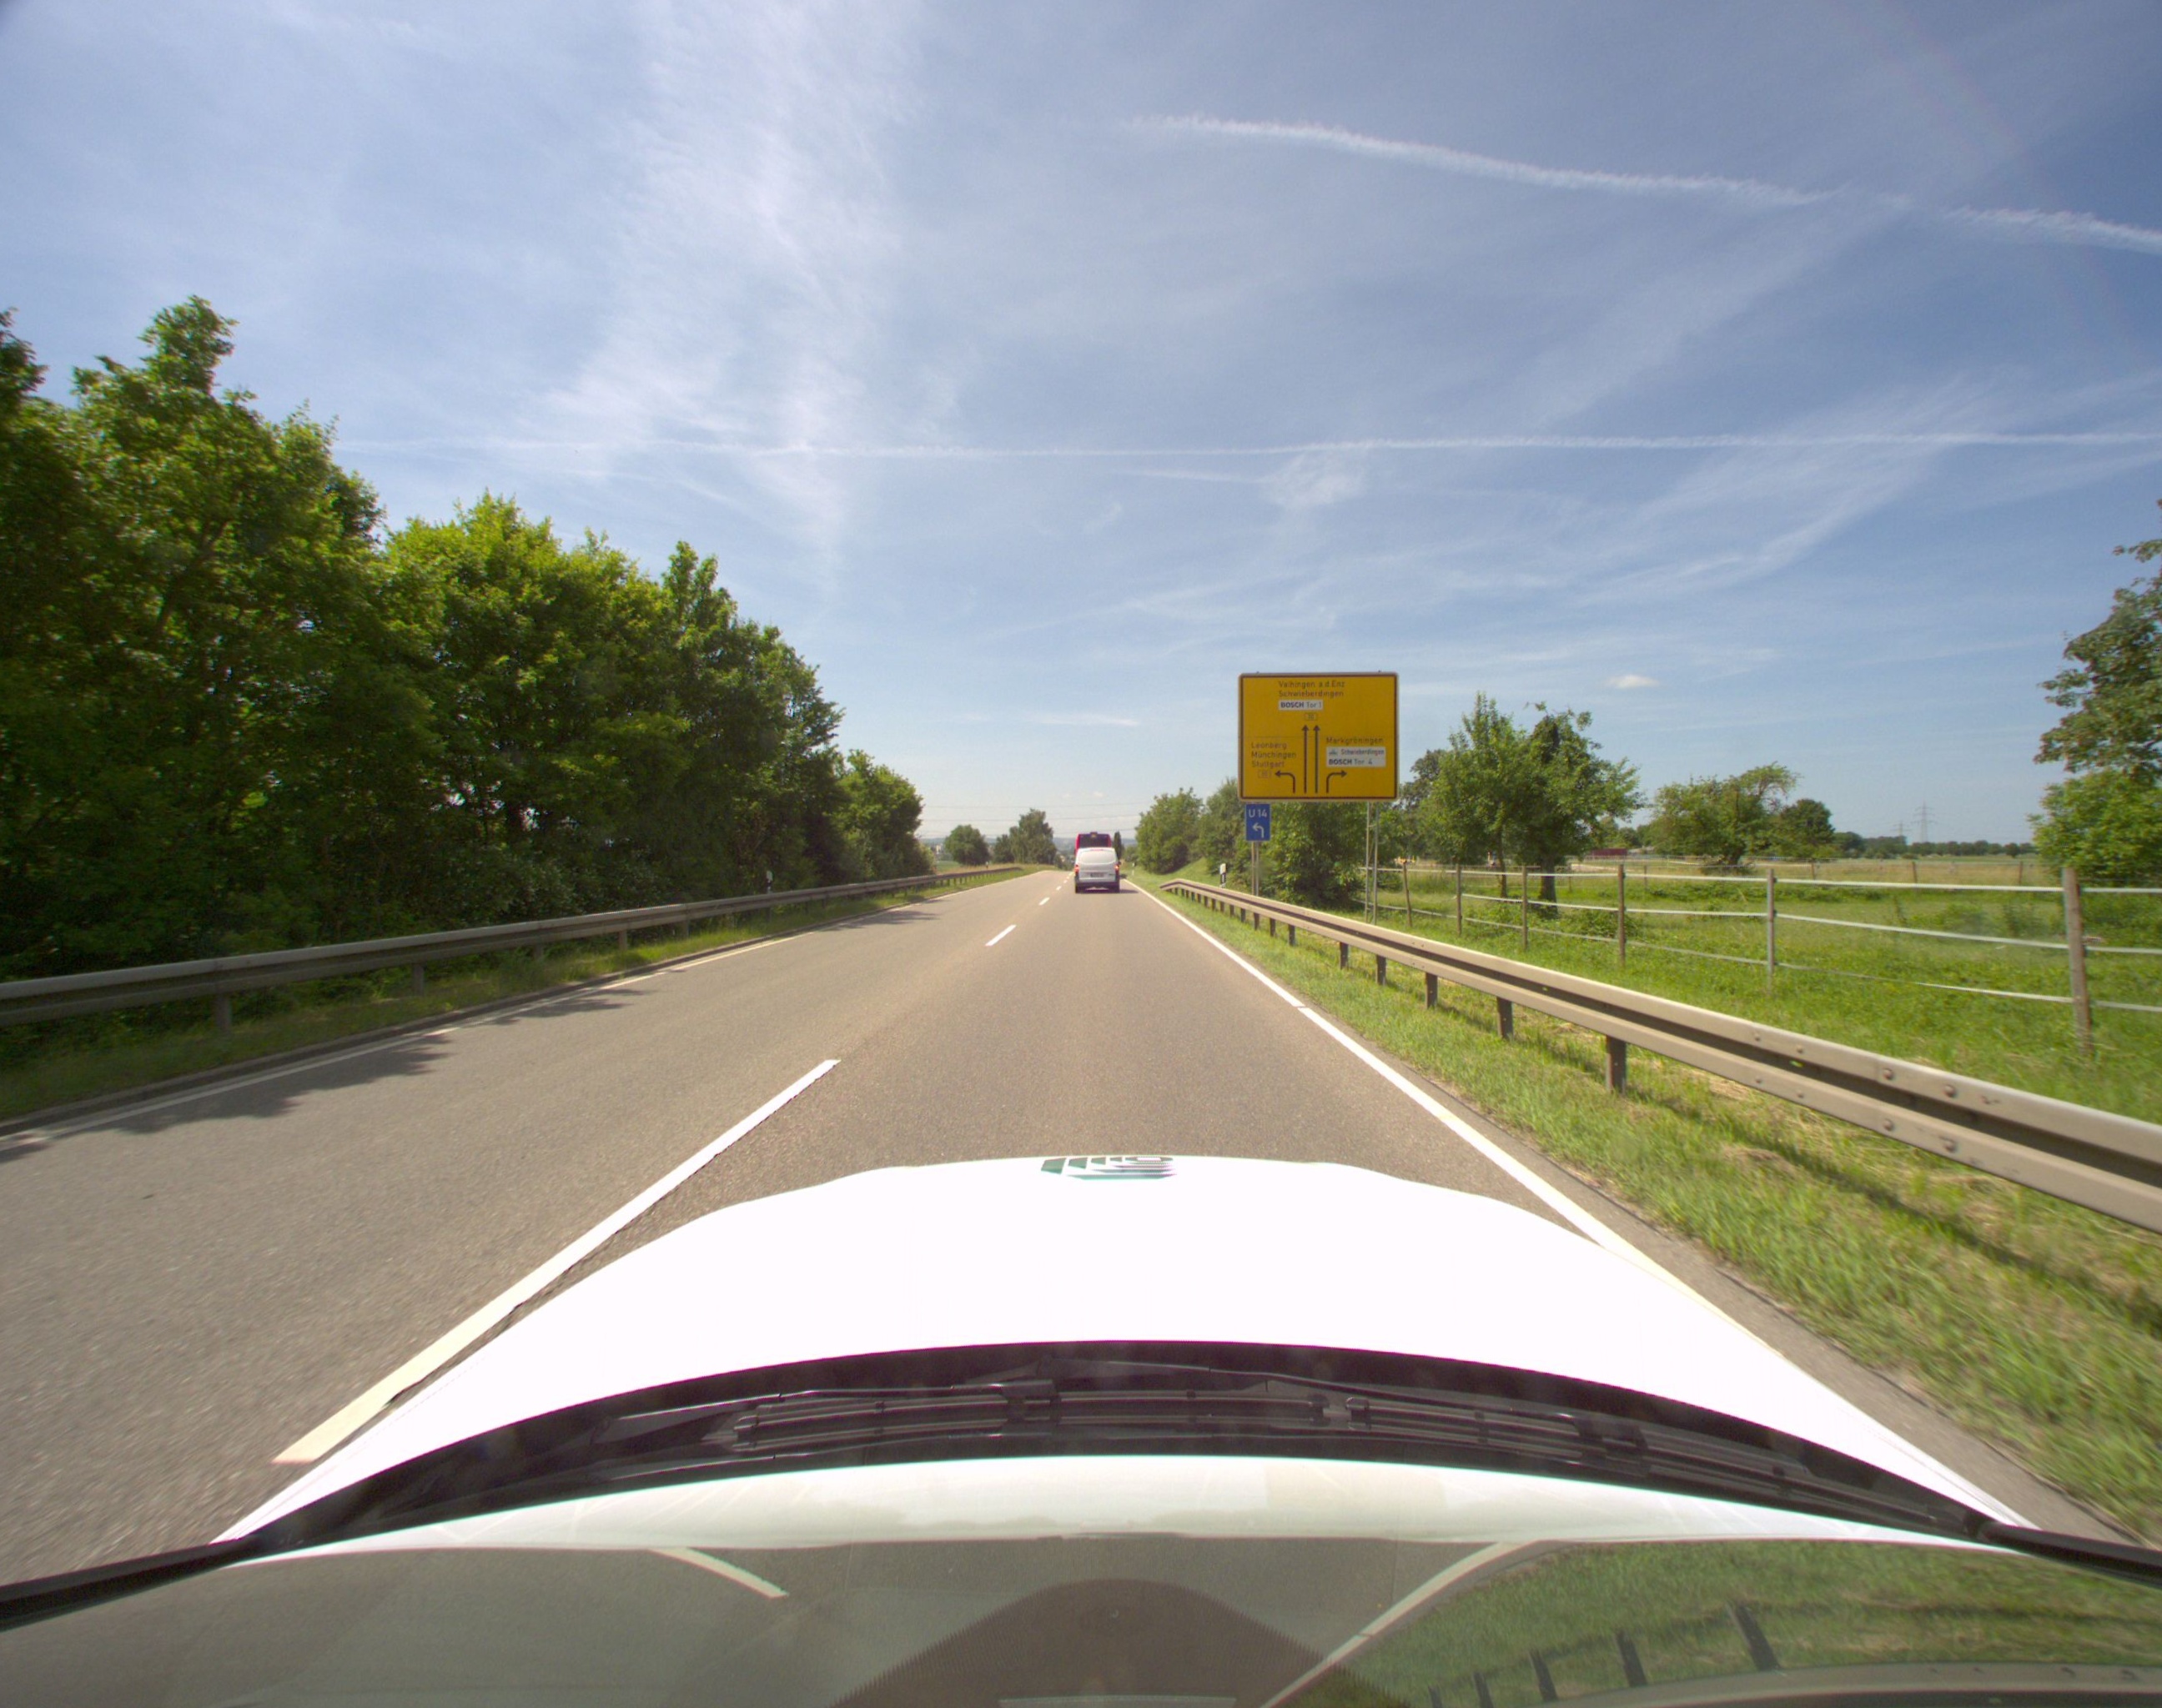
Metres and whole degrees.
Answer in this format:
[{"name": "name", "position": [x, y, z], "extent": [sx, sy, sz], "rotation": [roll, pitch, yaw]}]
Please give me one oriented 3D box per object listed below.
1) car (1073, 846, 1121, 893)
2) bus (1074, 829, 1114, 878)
[{"name": "car", "position": [0.690, 0.629, 35.063], "extent": [1.916, 1.889, 4.001], "rotation": [0, 1, 1]}, {"name": "bus", "position": [0.955, -0.097, 63.156], "extent": [2.738, 3.353, 13.222], "rotation": [-1, 0, 0]}]
